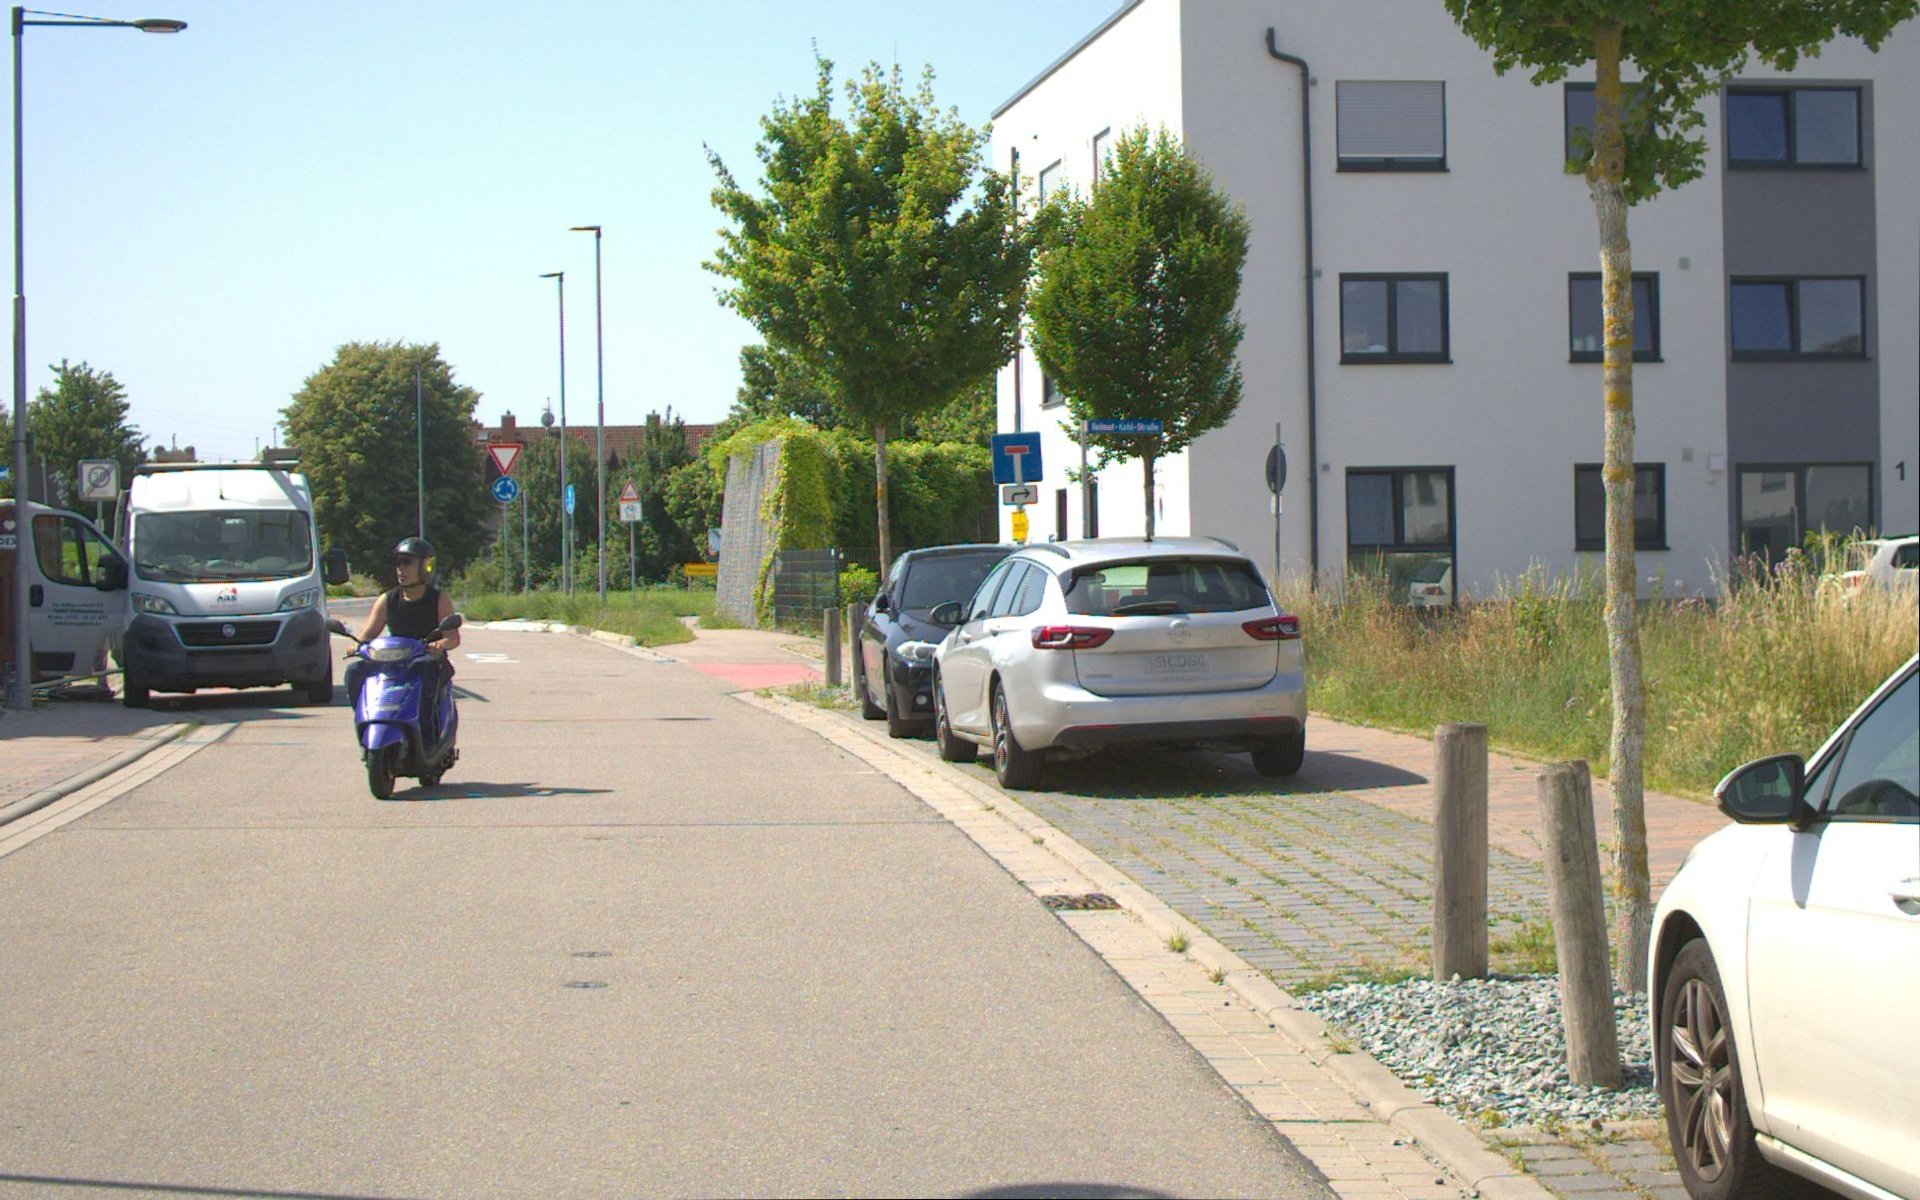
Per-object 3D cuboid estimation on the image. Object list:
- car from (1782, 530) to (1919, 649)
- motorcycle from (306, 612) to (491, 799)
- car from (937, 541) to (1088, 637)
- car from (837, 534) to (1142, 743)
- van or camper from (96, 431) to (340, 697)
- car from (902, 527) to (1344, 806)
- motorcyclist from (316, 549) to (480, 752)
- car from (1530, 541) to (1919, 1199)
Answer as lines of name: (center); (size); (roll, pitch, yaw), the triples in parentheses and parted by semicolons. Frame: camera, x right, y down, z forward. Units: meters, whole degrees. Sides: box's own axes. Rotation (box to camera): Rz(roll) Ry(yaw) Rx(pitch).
car: (12.605, -0.157, 42.843); (4.157, 1.431, 1.883); (-1, 0, -9)
motorcycle: (-3.518, 0.633, 21.744); (0.955, 1.031, 2.437); (-1, 1, -5)
car: (0.799, -0.207, 54.982); (1.677, 1.464, 4.117); (0, 1, -10)
car: (0.134, 0.238, 28.320); (1.918, 1.464, 5.141); (-2, 2, -6)
van or camper: (-7.947, -0.360, 36.538); (2.272, 2.544, 6.369); (-1, 0, -13)
car: (0.897, 0.319, 22.297); (1.918, 1.506, 5.296); (-2, 2, -7)
motorcyclist: (-3.506, 0.302, 21.513); (0.924, 1.218, 0.804); (-1, 1, -5)
car: (2.500, 0.621, 6.381); (1.779, 1.421, 4.515); (-2, 2, -4)
